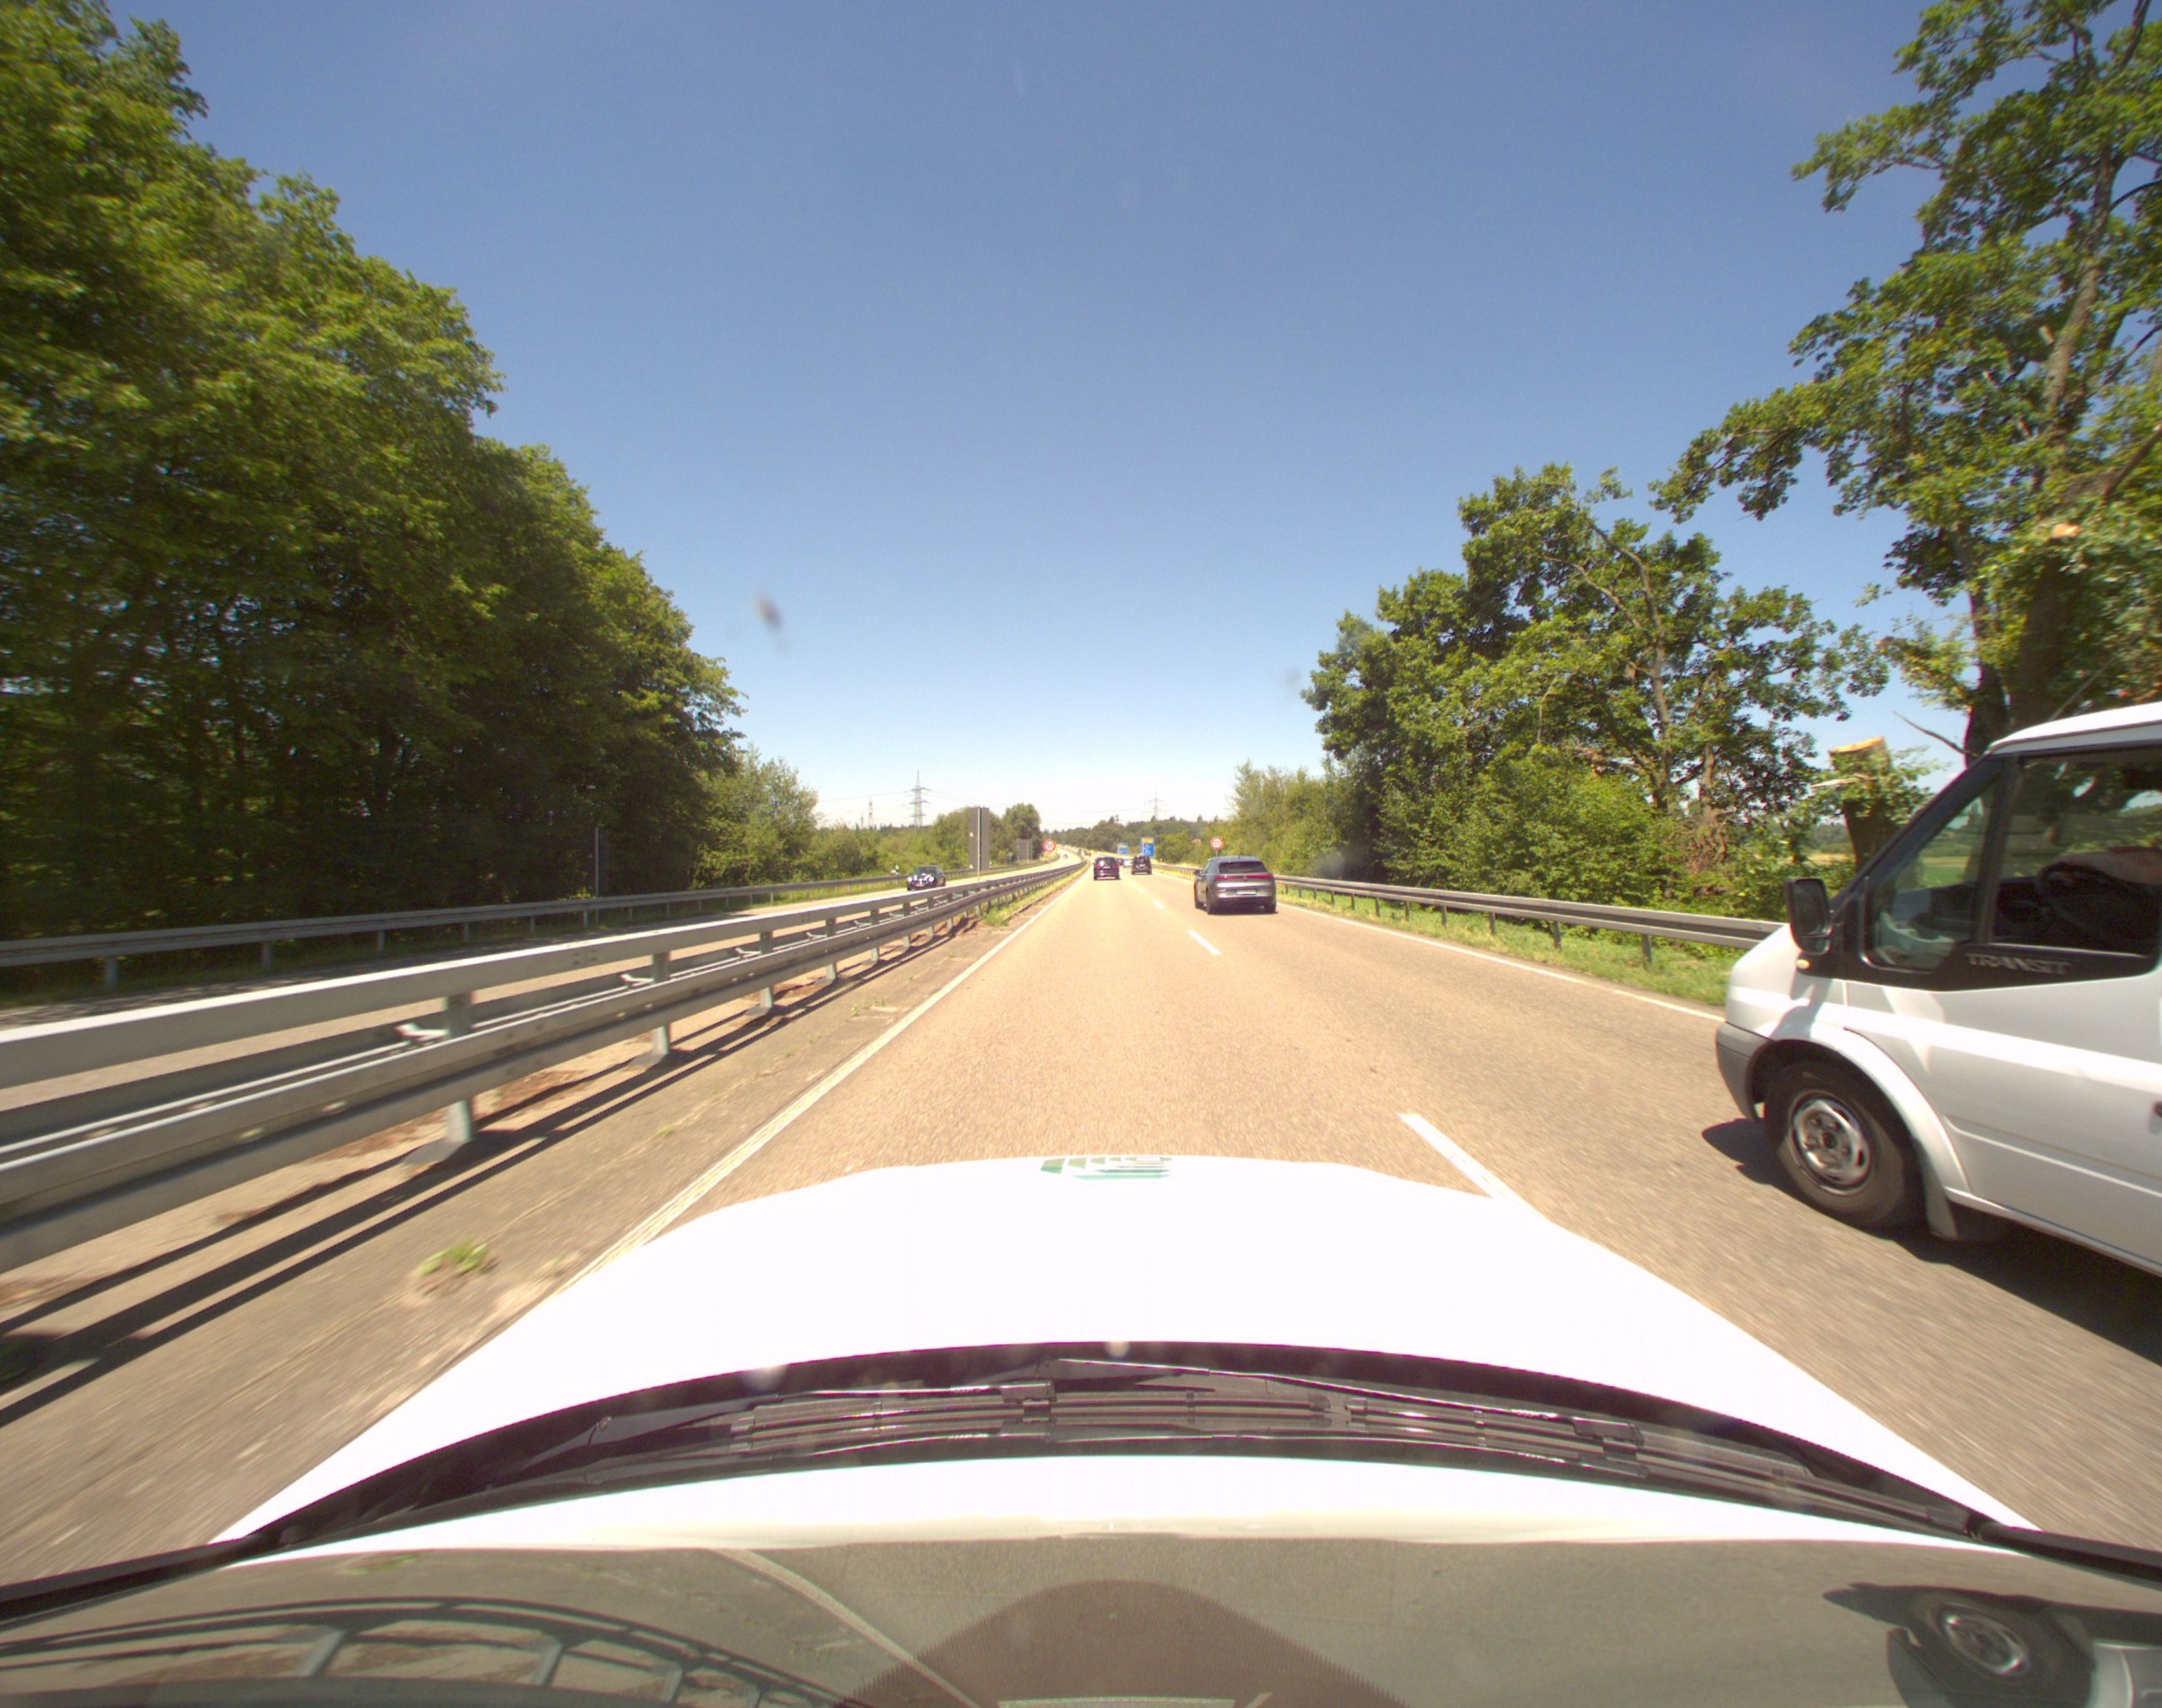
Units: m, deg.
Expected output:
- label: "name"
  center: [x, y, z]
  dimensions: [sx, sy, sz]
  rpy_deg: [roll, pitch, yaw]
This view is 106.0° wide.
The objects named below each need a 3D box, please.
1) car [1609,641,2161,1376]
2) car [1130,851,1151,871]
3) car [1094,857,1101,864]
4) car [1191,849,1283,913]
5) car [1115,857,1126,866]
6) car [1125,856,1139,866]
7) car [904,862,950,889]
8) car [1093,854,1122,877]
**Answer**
- label: "car"
  center: [3.921, 0.418, 2.069]
  dimensions: [1.998, 1.989, 5.035]
  rpy_deg: [0, 0, 1]
- label: "car"
  center: [5.667, 0.660, 77.610]
  dimensions: [1.773, 1.817, 4.214]
  rpy_deg: [-1, 0, 1]
- label: "car"
  center: [3.630, 1.478, 177.175]
  dimensions: [1.510, 1.475, 3.066]
  rpy_deg: [2, 1, 0]
- label: "car"
  center: [4.237, 0.679, 22.717]
  dimensions: [1.779, 1.553, 4.019]
  rpy_deg: [-2, 1, 0]
- label: "car"
  center: [6.590, 1.298, 136.025]
  dimensions: [1.813, 1.414, 4.001]
  rpy_deg: [-1, 1, 1]
- label: "car"
  center: [7.592, 1.053, 122.112]
  dimensions: [1.773, 1.479, 4.314]
  rpy_deg: [-1, 0, 0]
- label: "car"
  center: [-8.824, 1.203, 47.038]
  dimensions: [1.790, 1.468, 3.775]
  rpy_deg: [1, 0, 2]
- label: "car"
  center: [1.960, 0.847, 61.099]
  dimensions: [1.987, 1.654, 3.999]
  rpy_deg: [-1, 0, 0]
